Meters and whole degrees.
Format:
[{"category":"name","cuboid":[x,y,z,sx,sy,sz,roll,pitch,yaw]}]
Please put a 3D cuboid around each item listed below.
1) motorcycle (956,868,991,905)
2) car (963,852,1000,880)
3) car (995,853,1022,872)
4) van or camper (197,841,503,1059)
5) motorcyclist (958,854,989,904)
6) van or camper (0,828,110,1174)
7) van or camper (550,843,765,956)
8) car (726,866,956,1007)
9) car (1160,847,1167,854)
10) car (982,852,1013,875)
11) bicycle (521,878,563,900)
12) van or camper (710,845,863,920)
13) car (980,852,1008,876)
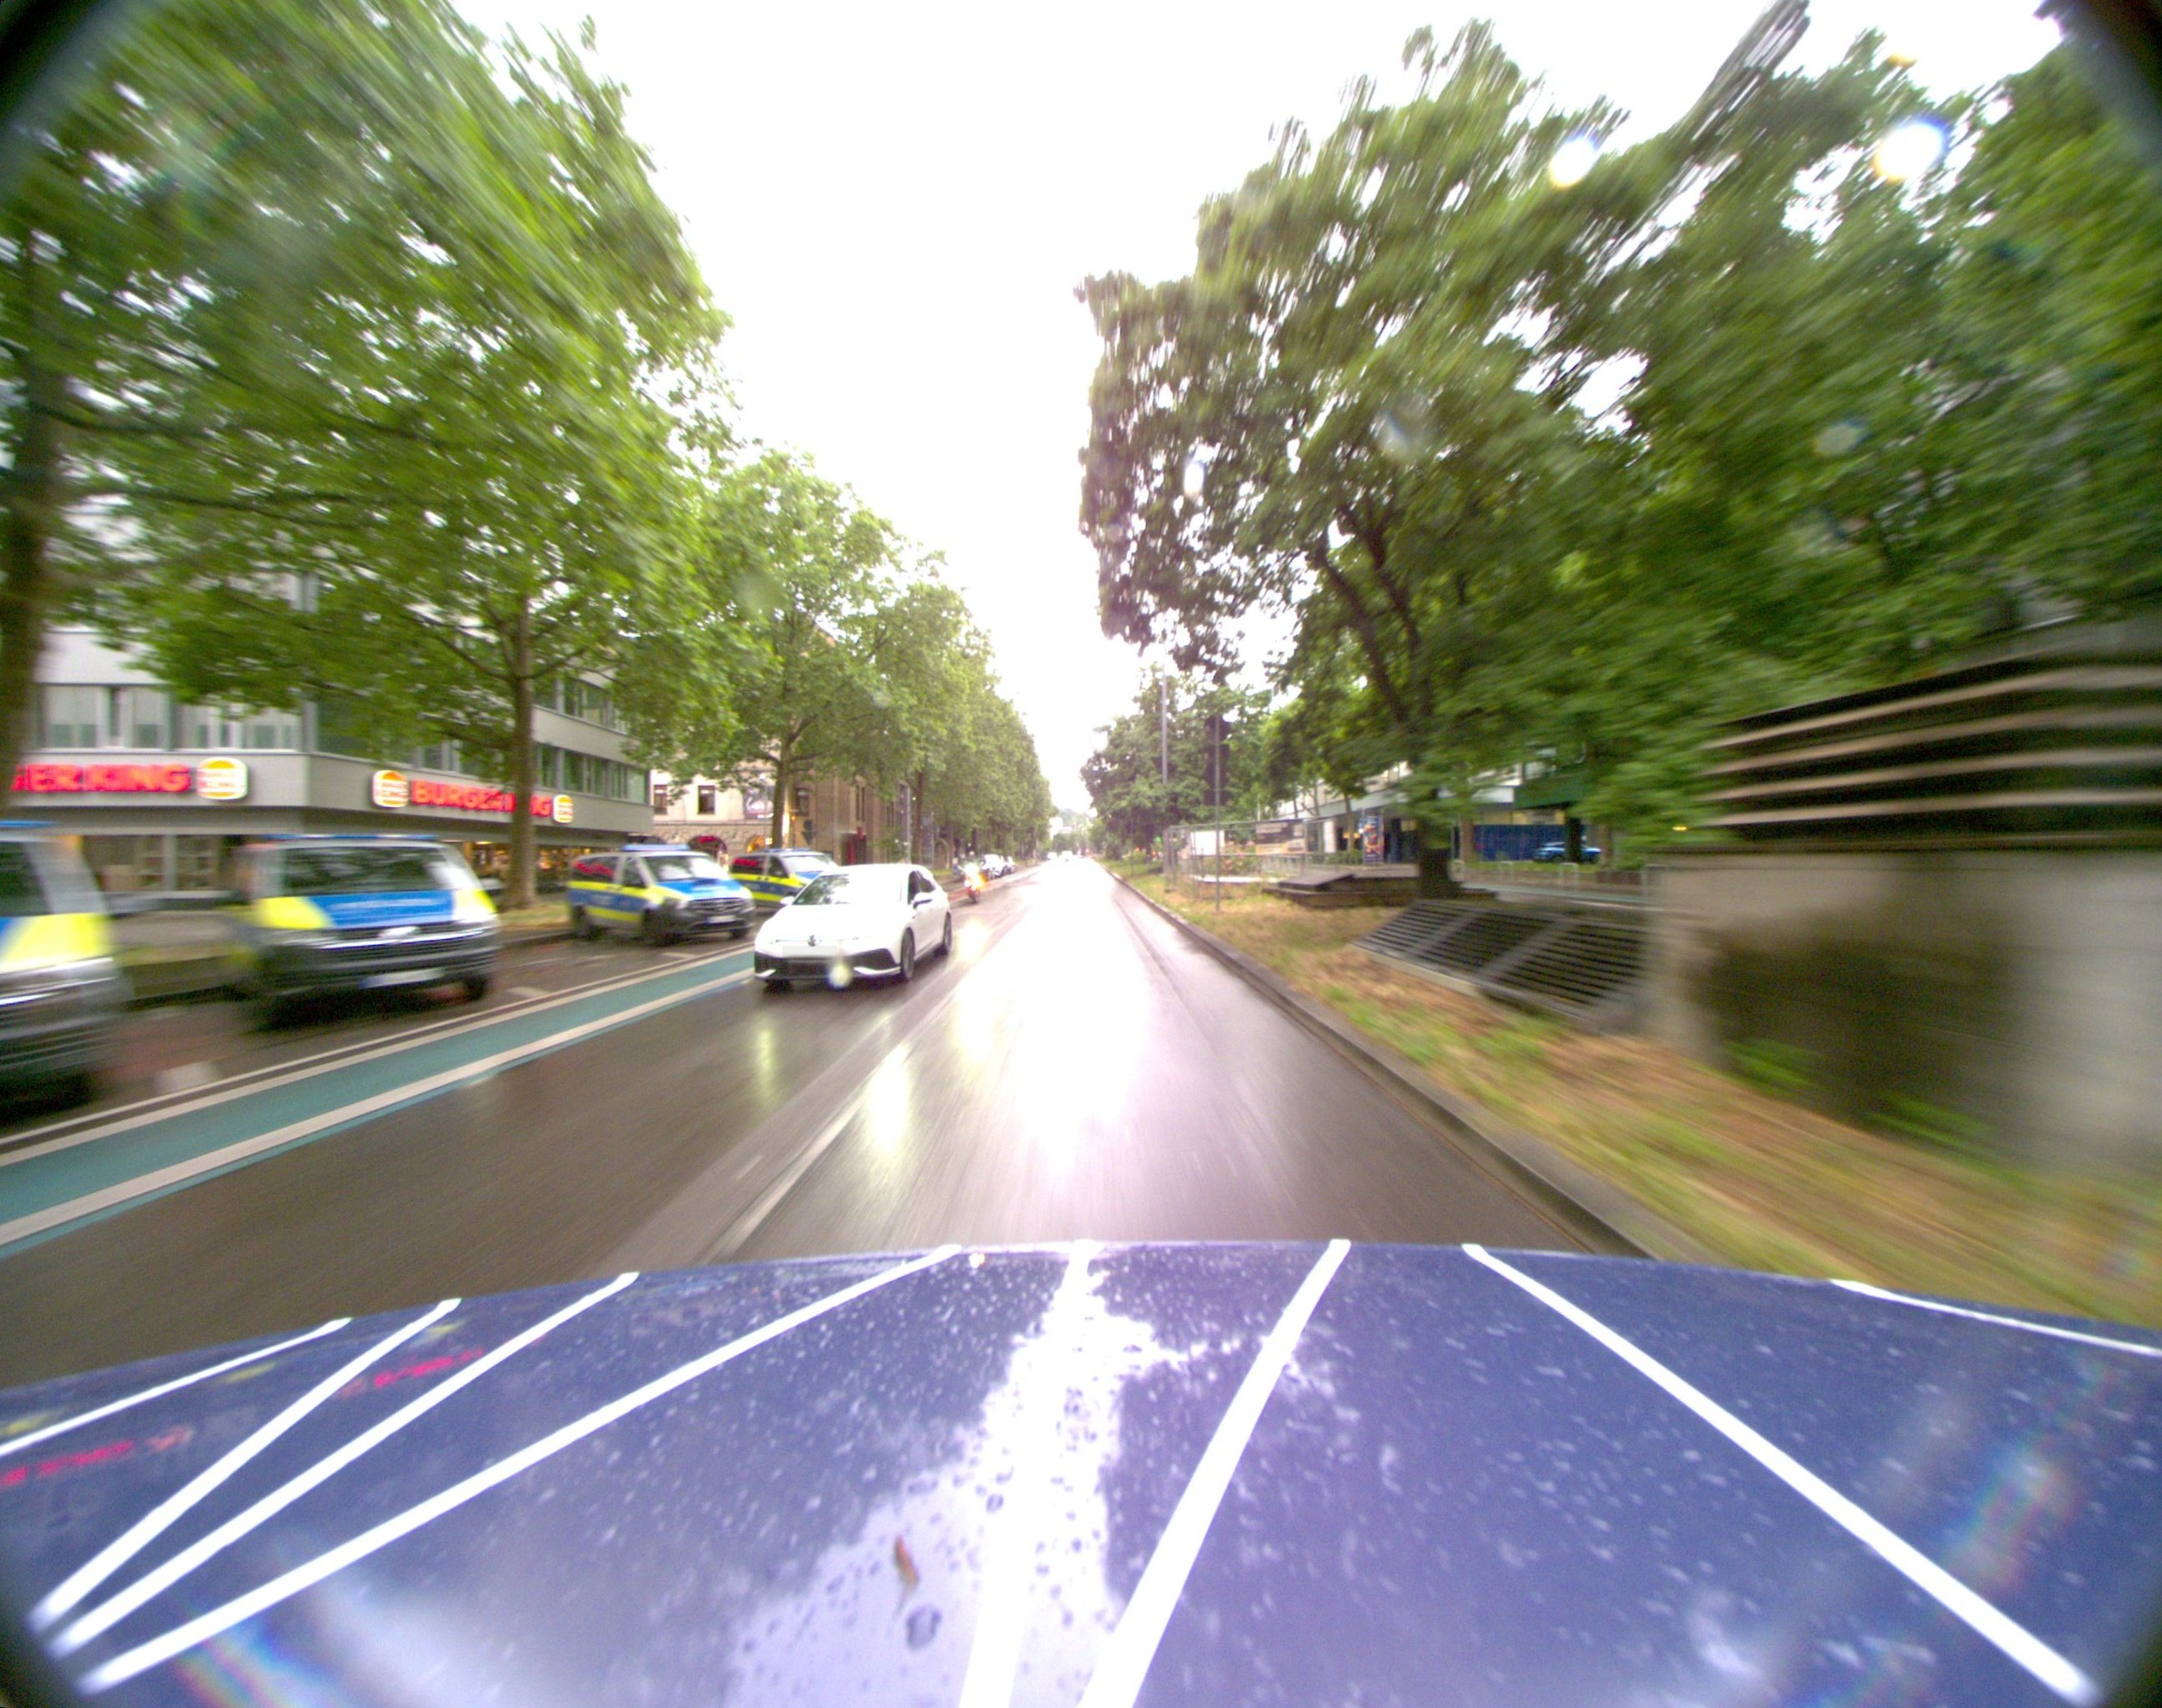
[{"category":"motorcycle","cuboid":[-3.673,1.088,25.811,0.869,1.136,2.019,-2,1,-17]},{"category":"car","cuboid":[-6.271,0.730,48.214,1.797,1.593,4.423,-2,1,-1]},{"category":"car","cuboid":[-6.040,0.698,63.907,1.747,1.424,4.585,-2,1,1]},{"category":"van or camper","cuboid":[-8.953,0.895,9.159,4.841,1.986,1.871,-1,1,37]},{"category":"motorcyclist","cuboid":[-3.656,0.821,25.759,0.850,1.635,0.870,-2,1,-18]},{"category":"van or camper","cuboid":[-8.545,0.892,5.298,4.781,1.999,2.004,-1,1,37]},{"category":"van or camper","cuboid":[-9.041,0.878,16.042,5.074,2.007,2.001,-2,1,37]},{"category":"car","cuboid":[-3.065,0.960,10.784,1.866,1.436,4.508,-2,0,-1]},{"category":"car","cuboid":[16.644,-0.744,153.109,1.163,1.454,3.561,0,0,3]},{"category":"car","cuboid":[-6.365,0.690,58.277,1.999,1.580,4.559,-2,1,-2]},{"category":"bicycle","cuboid":[-23.133,1.490,32.674,0.643,0.814,1.912,-1,1,-8]},{"category":"van or camper","cuboid":[-8.908,0.817,22.791,4.933,1.980,2.006,-1,1,39]},{"category":"car","cuboid":[-6.053,0.683,53.253,1.756,1.576,4.408,-2,0,-4]}]
